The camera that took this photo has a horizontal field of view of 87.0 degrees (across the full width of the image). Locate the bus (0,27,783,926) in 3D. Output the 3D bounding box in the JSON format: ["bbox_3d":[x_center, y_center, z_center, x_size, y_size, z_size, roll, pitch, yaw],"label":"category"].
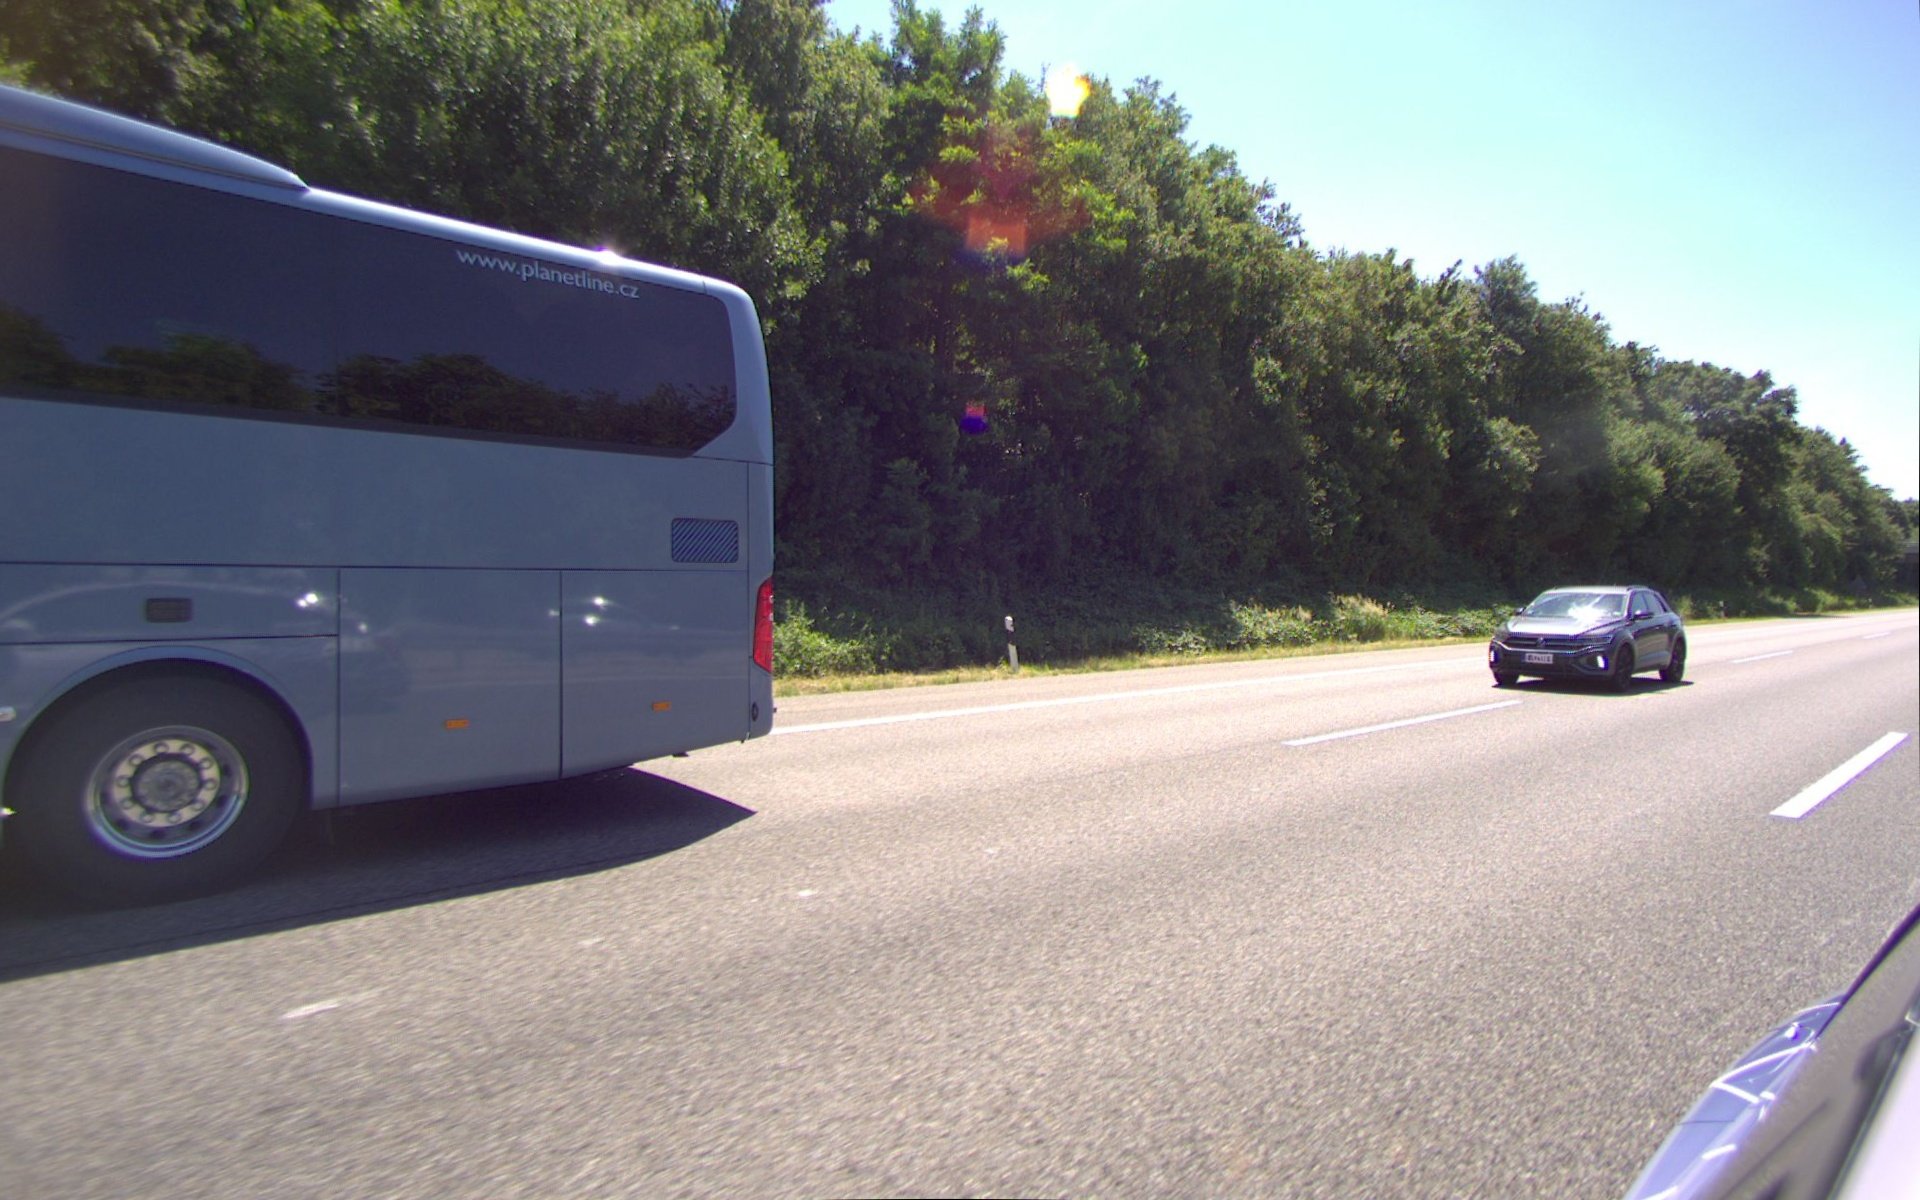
[{"bbox_3d":[-6.622,-0.484,3.521,12.260,3.641,2.806,-1,1,-42],"label":"bus"}]

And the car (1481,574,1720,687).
[{"bbox_3d":[10.299,0.384,16.137,4.675,1.551,1.903,-1,1,-40],"label":"car"}]
